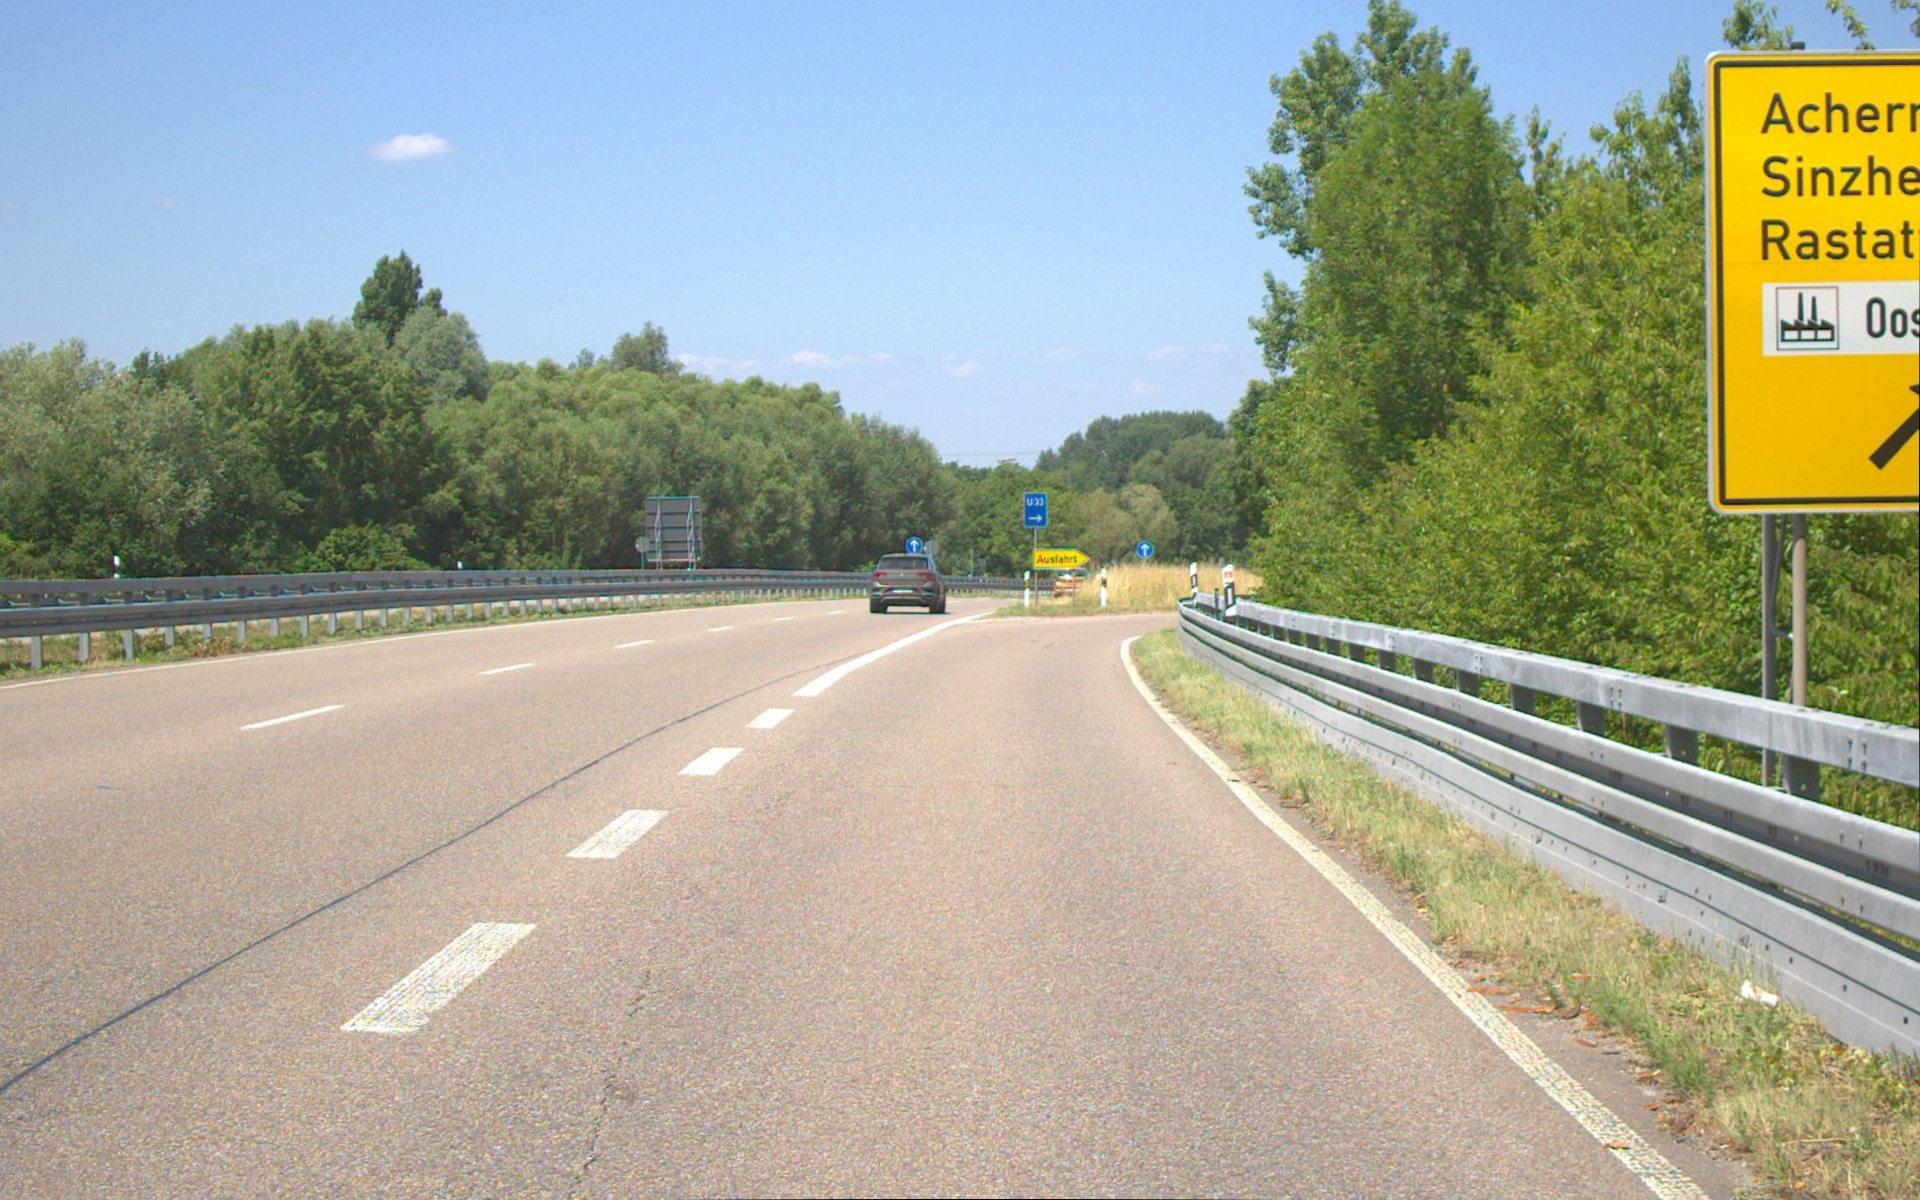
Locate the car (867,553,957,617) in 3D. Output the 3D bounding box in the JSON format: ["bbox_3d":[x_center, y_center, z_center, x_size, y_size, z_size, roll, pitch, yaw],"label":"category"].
[{"bbox_3d":[-1.225,-0.408,89.718,1.841,1.524,4.469,2,2,5],"label":"car"}]

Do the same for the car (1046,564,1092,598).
[{"bbox_3d":[5.066,-0.886,158.720,1.841,1.459,4.000,2,2,5],"label":"car"}]
